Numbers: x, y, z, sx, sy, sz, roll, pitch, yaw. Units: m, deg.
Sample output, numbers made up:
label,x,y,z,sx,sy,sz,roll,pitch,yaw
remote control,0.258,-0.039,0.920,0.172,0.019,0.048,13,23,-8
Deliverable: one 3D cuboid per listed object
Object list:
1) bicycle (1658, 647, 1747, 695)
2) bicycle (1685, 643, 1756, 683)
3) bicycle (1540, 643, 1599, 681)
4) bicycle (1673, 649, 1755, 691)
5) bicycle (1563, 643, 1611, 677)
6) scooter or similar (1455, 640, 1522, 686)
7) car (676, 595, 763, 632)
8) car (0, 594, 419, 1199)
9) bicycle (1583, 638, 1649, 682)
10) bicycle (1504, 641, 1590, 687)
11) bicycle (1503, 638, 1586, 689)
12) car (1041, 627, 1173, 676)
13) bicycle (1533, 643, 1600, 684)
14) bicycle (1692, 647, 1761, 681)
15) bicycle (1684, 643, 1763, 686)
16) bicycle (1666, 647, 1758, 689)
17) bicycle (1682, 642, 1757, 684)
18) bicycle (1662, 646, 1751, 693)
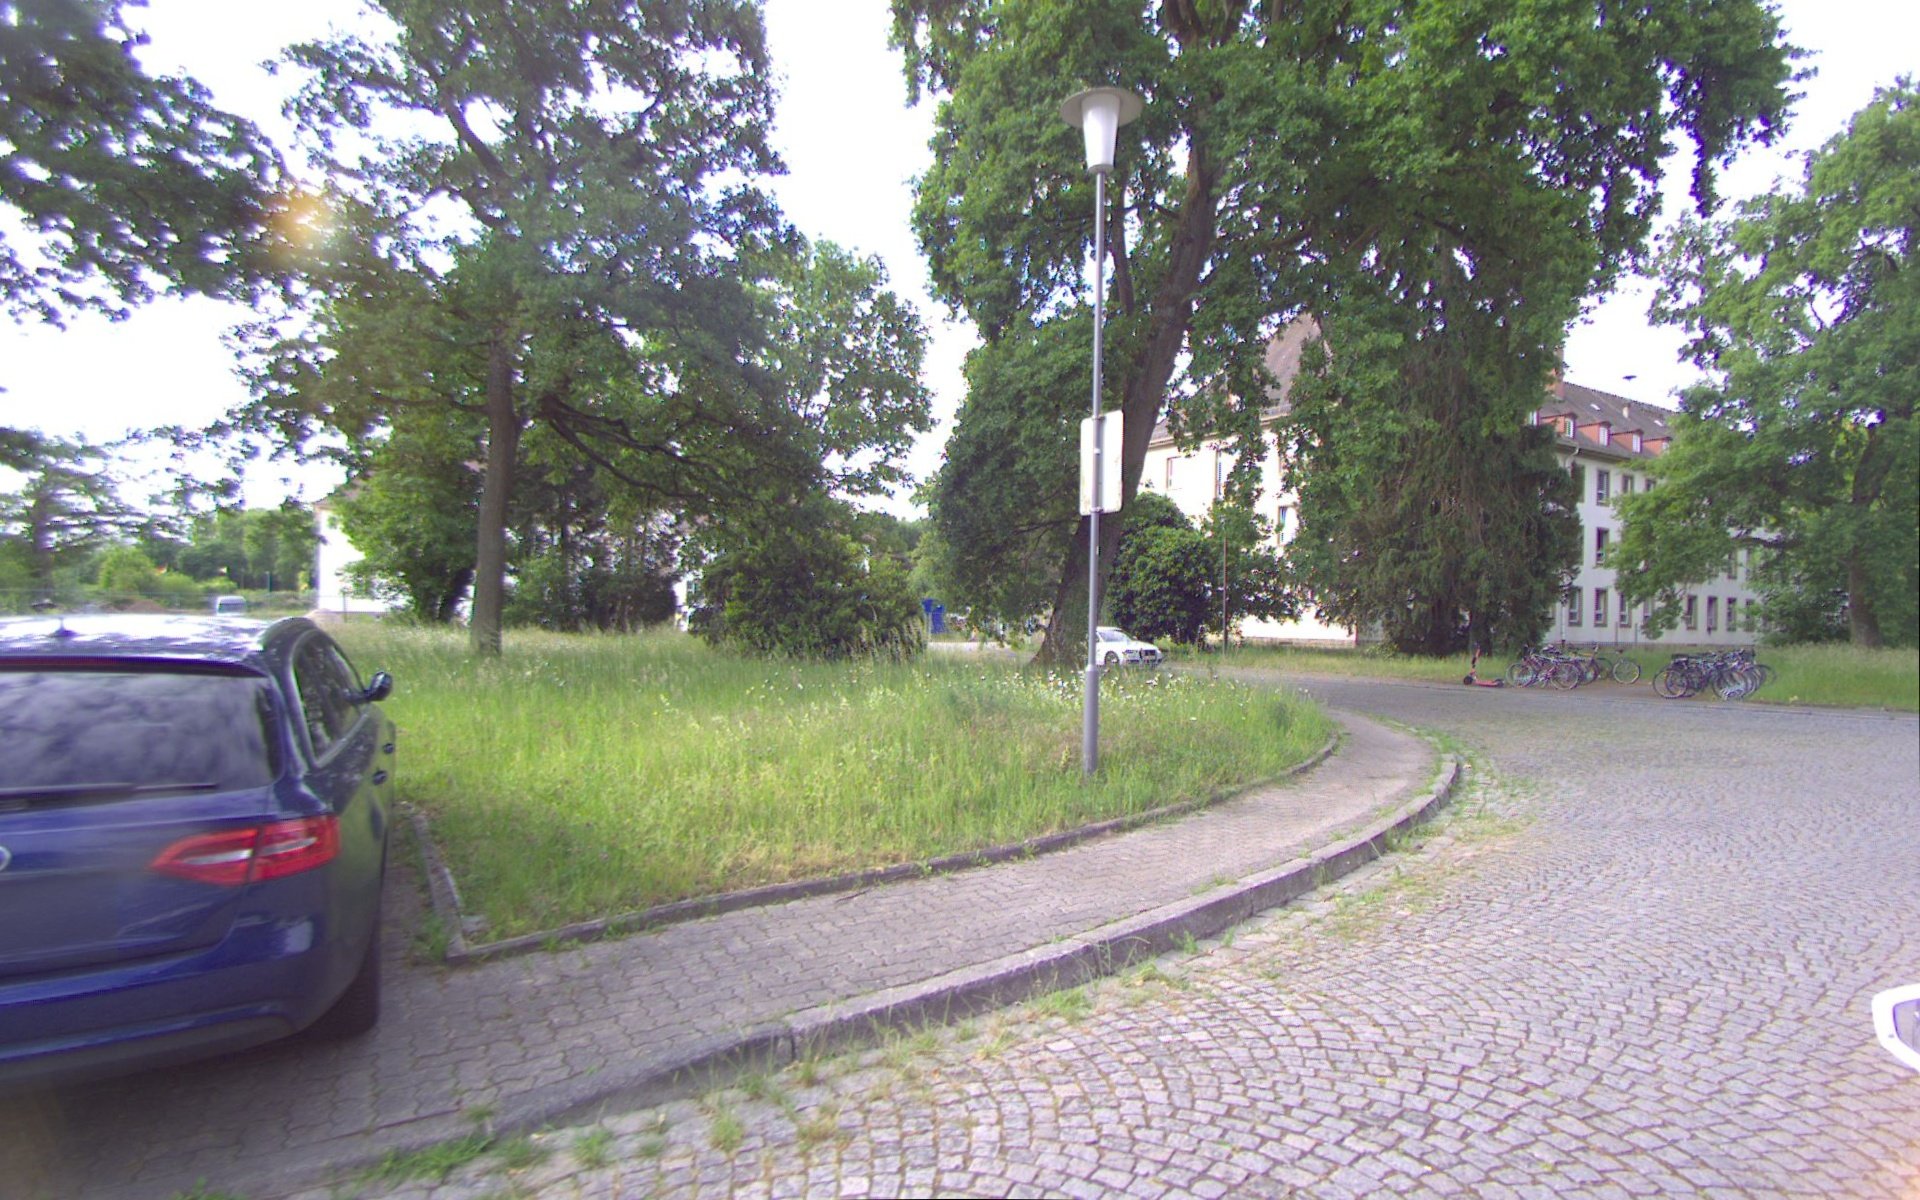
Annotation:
label,x,y,z,sx,sy,sz,roll,pitch,yaw
bicycle,18.547,1.752,25.105,1.747,1.118,0.699,-1,0,40
bicycle,22.010,1.815,29.091,1.597,1.073,0.524,-1,0,40
bicycle,18.237,1.833,30.089,1.489,1.049,0.544,0,1,29
bicycle,19.605,1.805,26.123,1.671,1.015,0.629,-1,0,40
bicycle,19.978,1.896,32.010,1.244,1.042,0.432,-1,-4,40
scooter or similar,14.638,1.730,27.859,0.673,1.211,1.542,1,-1,-28
car,-16.852,0.964,70.387,5.471,2.237,2.108,3,1,-32
car,-3.307,0.748,4.304,1.661,1.499,4.413,1,0,-28
bicycle,19.540,1.775,29.945,1.616,1.201,0.572,1,1,33
bicycle,16.207,1.742,27.763,1.961,1.129,0.640,1,1,40
bicycle,15.816,1.701,27.208,1.873,1.239,0.640,1,1,40
car,4.919,1.720,34.235,1.834,1.456,4.665,3,-2,-32
bicycle,17.462,1.815,28.954,1.600,1.088,0.538,0,1,29
bicycle,22.458,1.877,29.437,1.597,0.923,0.524,-1,0,40
bicycle,21.402,1.799,28.176,1.750,1.120,0.539,-1,0,40
bicycle,20.061,1.796,26.809,1.931,1.018,0.683,-1,0,40
bicycle,21.669,1.788,28.667,1.676,1.131,0.539,-1,0,40
bicycle,19.044,1.756,25.647,1.772,1.118,0.699,-1,0,40
